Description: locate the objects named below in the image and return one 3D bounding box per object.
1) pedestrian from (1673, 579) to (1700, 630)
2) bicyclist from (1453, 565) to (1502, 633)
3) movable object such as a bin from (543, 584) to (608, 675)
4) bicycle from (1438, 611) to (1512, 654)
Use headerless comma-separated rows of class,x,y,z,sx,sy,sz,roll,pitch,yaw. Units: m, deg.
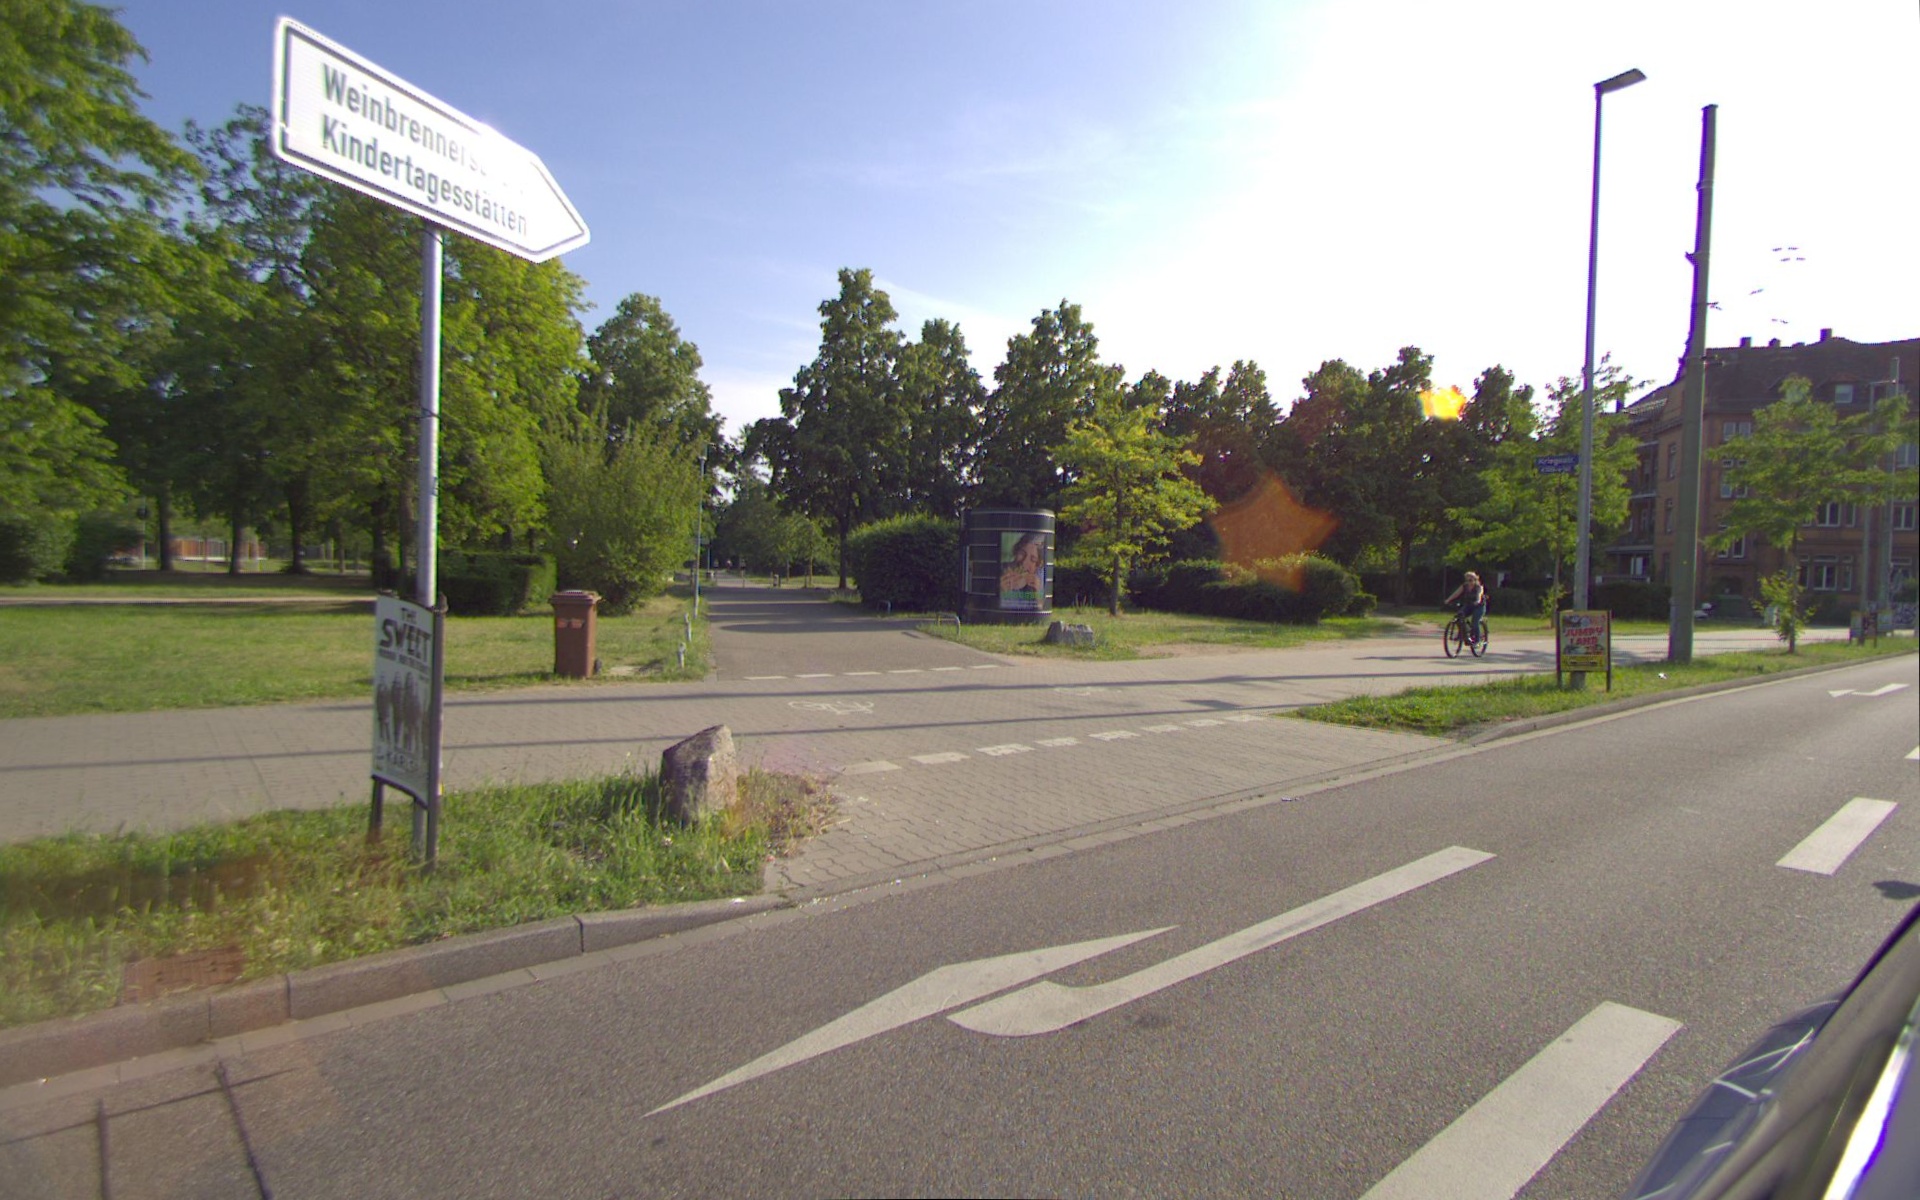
pedestrian,24.943,0.147,34.736,0.607,1.706,0.621,0,0,-41
bicyclist,10.155,-0.028,19.850,0.854,1.278,0.535,0,2,-41
movable object such as a bin,-4.144,0.304,10.936,0.447,0.929,0.605,2,2,1
bicycle,10.086,0.618,19.788,2.131,0.766,0.496,0,3,-41
